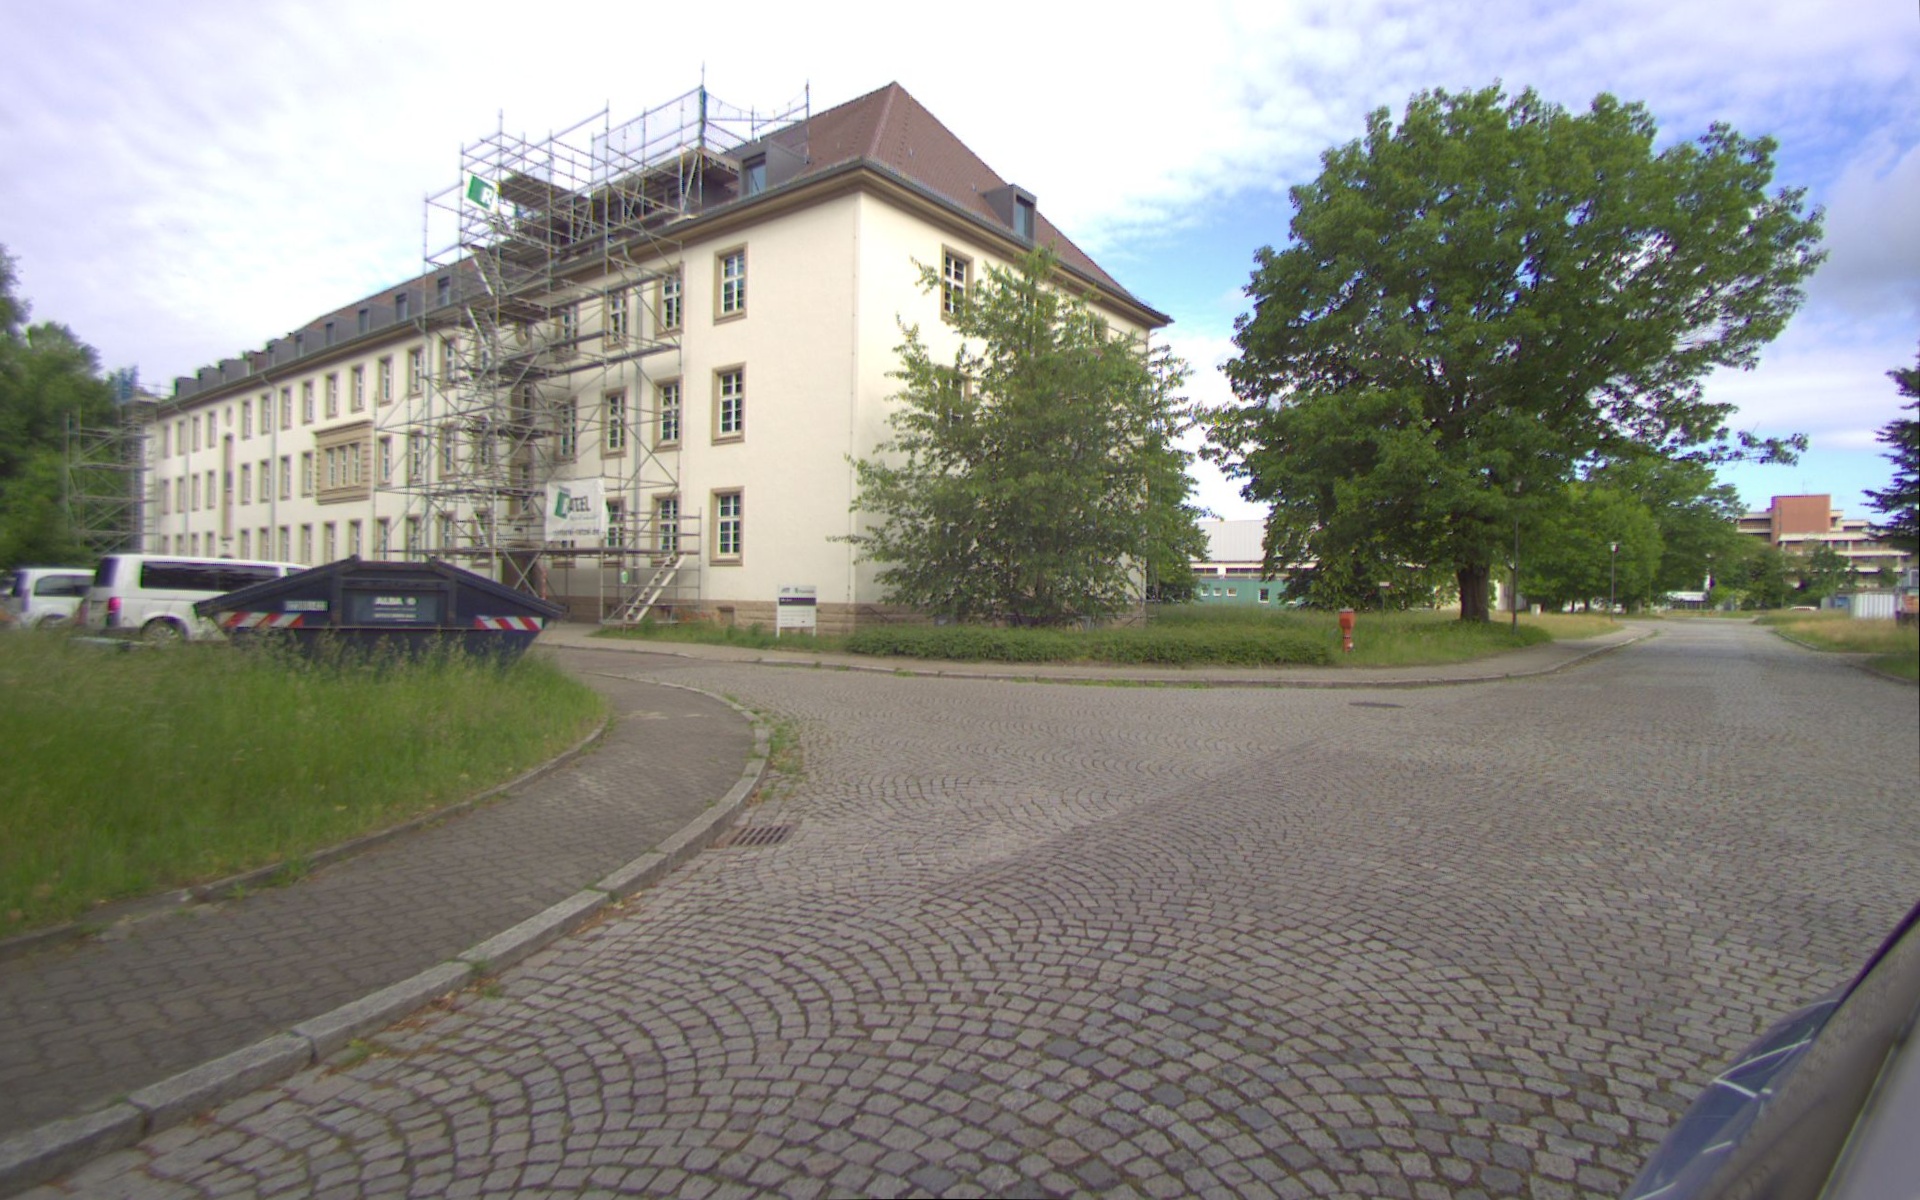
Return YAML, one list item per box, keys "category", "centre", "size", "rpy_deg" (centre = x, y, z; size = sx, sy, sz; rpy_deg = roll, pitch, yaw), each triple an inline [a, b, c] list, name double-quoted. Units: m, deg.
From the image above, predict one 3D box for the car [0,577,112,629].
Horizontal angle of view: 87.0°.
- category: "car"
  centre: [-29.323, 0.069, 32.328]
  size: [1.377, 1.584, 3.206]
  rpy_deg: [1, 1, 37]

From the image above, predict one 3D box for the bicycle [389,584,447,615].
- category: "bicycle"
  centre: [-20.263, -0.026, 37.838]
  size: [0.509, 1.109, 1.832]
  rpy_deg: [0, 0, 45]

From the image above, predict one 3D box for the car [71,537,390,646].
- category: "car"
  centre: [-15.330, -0.184, 21.588]
  size: [1.957, 2.022, 5.206]
  rpy_deg: [1, 1, 37]

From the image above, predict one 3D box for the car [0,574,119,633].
- category: "car"
  centre: [-27.098, 0.082, 29.916]
  size: [1.432, 1.682, 3.206]
  rpy_deg: [1, 1, 37]

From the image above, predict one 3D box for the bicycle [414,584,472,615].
- category: "bicycle"
  centre: [-19.016, -0.016, 37.275]
  size: [0.509, 1.109, 1.832]
  rpy_deg: [0, 0, 45]

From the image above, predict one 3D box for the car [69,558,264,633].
- category: "car"
  centre: [-17.626, -0.102, 22.590]
  size: [1.304, 1.546, 3.206]
  rpy_deg: [1, 1, 37]

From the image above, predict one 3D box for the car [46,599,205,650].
- category: "car"
  centre: [-19.482, 0.540, 23.692]
  size: [1.304, 1.097, 2.666]
  rpy_deg: [1, 1, 37]

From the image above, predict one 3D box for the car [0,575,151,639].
- category: "car"
  centre: [-23.554, 0.166, 26.712]
  size: [1.323, 1.584, 3.206]
  rpy_deg: [1, 1, 37]

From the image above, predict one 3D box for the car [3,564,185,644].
- category: "car"
  centre: [-21.642, 0.083, 25.371]
  size: [1.595, 1.867, 3.206]
  rpy_deg: [1, 1, 37]

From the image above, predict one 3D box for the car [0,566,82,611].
- category: "car"
  centre: [-36.464, -0.445, 38.451]
  size: [1.460, 1.669, 4.484]
  rpy_deg: [1, 1, 37]

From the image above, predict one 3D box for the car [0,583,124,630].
- category: "car"
  centre: [-25.533, 0.167, 28.243]
  size: [1.290, 1.233, 3.206]
  rpy_deg: [1, 1, 37]
